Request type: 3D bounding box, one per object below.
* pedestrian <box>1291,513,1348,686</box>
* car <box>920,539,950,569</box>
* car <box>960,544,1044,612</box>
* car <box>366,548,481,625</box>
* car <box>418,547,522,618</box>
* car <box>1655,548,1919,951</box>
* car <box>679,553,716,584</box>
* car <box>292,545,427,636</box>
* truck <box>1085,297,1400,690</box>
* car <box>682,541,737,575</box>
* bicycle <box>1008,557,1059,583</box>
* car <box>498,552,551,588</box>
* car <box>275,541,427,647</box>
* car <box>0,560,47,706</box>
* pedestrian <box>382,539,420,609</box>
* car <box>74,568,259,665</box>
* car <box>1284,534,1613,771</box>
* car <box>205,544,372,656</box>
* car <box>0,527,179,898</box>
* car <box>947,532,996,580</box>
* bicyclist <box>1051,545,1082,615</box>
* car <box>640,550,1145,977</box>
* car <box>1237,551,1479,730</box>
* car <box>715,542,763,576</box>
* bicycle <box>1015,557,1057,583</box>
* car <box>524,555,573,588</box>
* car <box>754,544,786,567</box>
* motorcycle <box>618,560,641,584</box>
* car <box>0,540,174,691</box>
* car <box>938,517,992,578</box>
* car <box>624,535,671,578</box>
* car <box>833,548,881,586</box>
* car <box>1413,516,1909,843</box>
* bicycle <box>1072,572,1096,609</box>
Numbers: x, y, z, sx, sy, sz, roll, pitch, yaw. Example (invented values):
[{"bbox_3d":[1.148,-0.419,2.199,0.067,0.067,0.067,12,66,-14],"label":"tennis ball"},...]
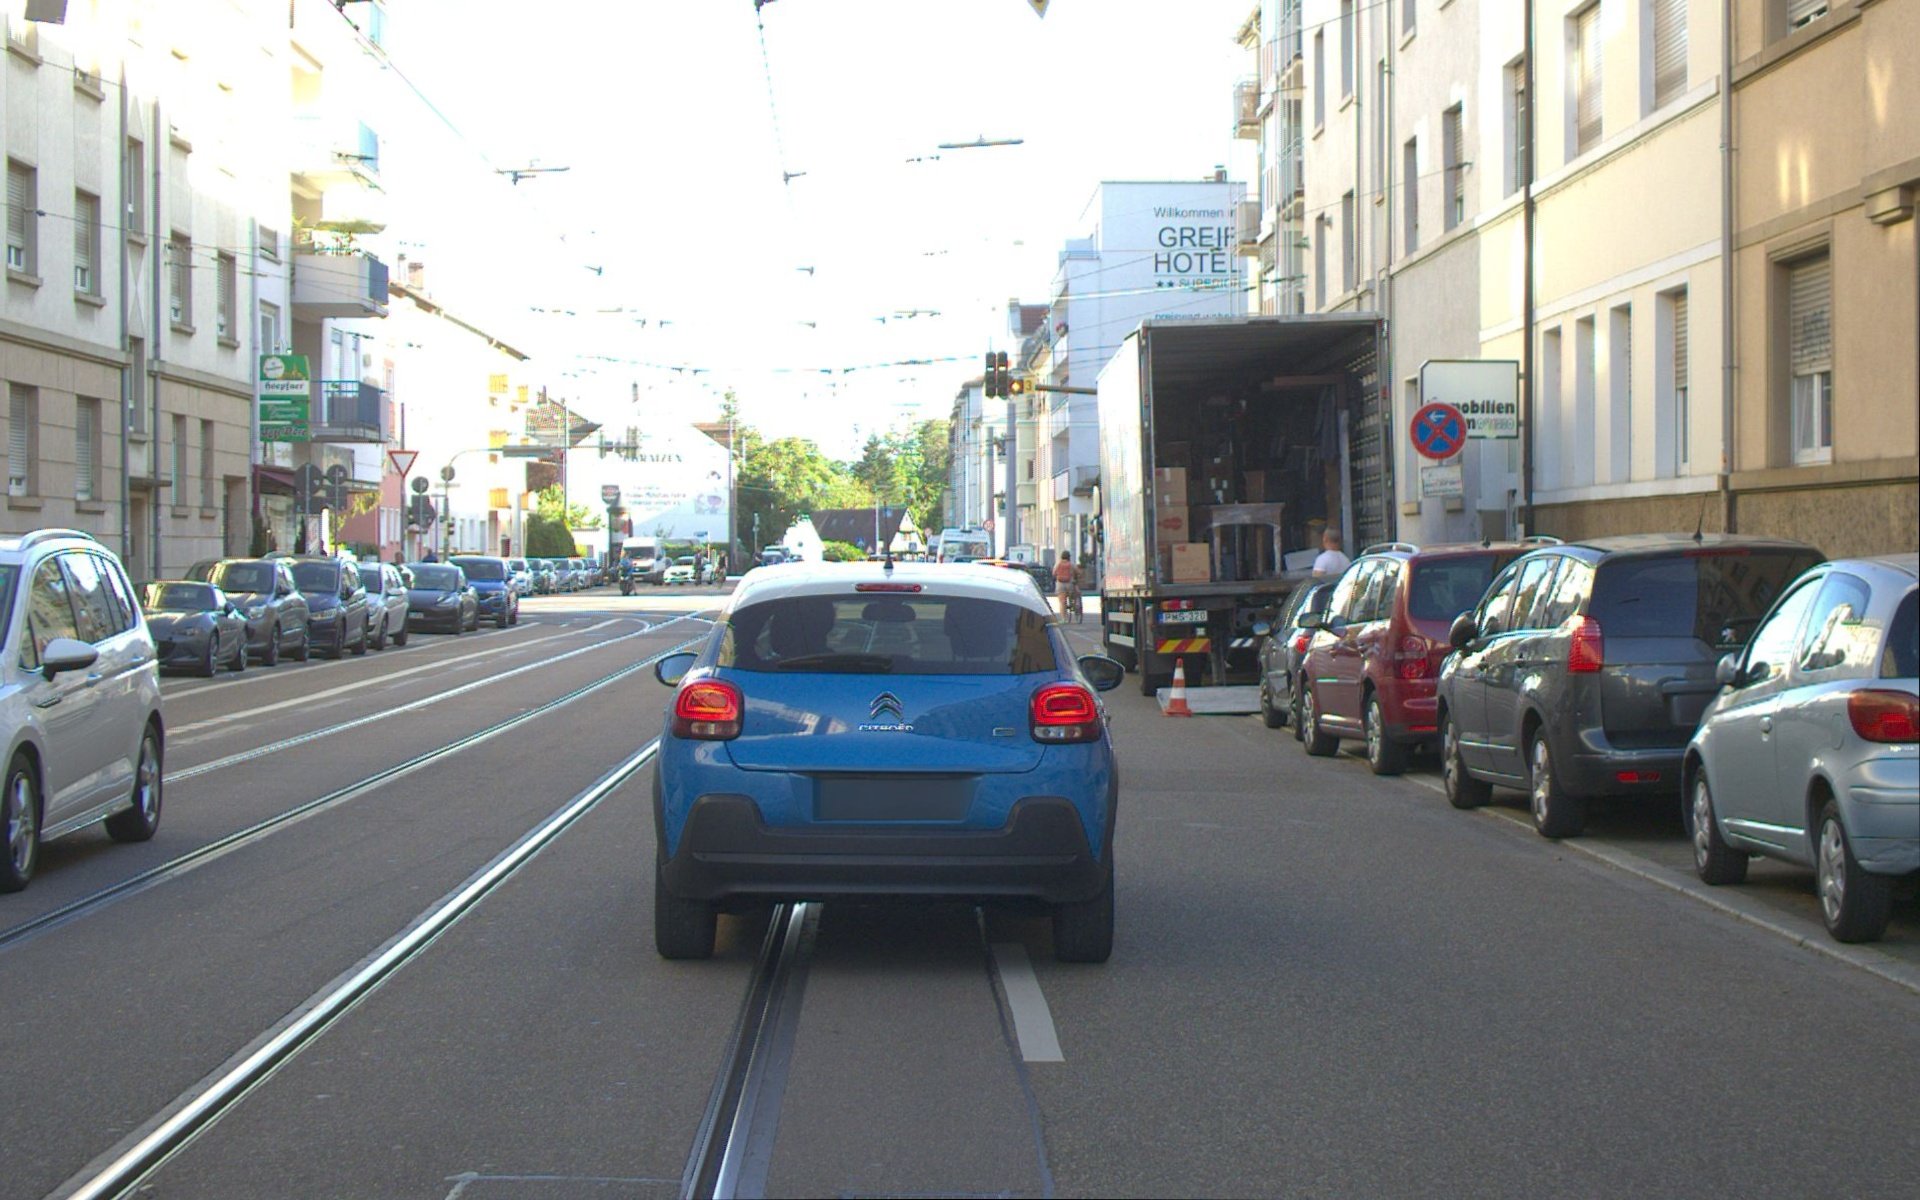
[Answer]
[{"bbox_3d":[3.708,-0.012,35.467,0.512,1.769,0.416,-1,1,-1],"label":"pedestrian"},{"bbox_3d":[-1.398,-2.570,192.497,1.689,1.612,4.000,1,1,0],"label":"car"},{"bbox_3d":[0.934,-0.491,74.415,1.738,1.415,4.000,0,1,2],"label":"car"},{"bbox_3d":[-11.061,-0.283,71.118,1.699,1.504,4.312,1,0,-1],"label":"car"},{"bbox_3d":[-10.904,-0.400,76.740,1.744,1.504,4.000,1,0,-1],"label":"car"},{"bbox_3d":[4.119,0.527,14.540,1.608,1.458,3.480,-1,1,0],"label":"car"},{"bbox_3d":[-13.496,-1.635,176.822,1.849,1.568,4.402,0,1,-4],"label":"car"},{"bbox_3d":[-10.617,-0.175,61.003,1.699,1.504,4.387,1,0,-2],"label":"car"},{"bbox_3d":[3.159,-1.215,41.752,2.860,4.059,11.779,-1,1,0],"label":"truck"},{"bbox_3d":[-12.471,-2.082,170.886,1.808,1.634,4.001,-1,1,-19],"label":"car"},{"bbox_3d":[2.746,-1.114,128.107,1.874,0.953,0.701,0,1,4],"label":"bicycle"},{"bbox_3d":[-18.723,-1.287,148.023,1.911,1.492,4.000,0,1,-2],"label":"car"},{"bbox_3d":[-9.778,-0.100,55.469,1.699,1.610,4.244,1,0,-1],"label":"car"},{"bbox_3d":[-10.183,0.290,33.069,1.699,1.411,4.000,3,0,-1],"label":"car"},{"bbox_3d":[-12.543,-0.583,77.104,0.697,1.543,0.721,0,1,2],"label":"pedestrian"},{"bbox_3d":[-10.582,0.202,46.070,1.699,1.211,3.786,1,0,-2],"label":"car"},{"bbox_3d":[3.588,0.326,25.942,1.591,1.603,4.247,-2,1,-4],"label":"car"},{"bbox_3d":[-9.922,-0.014,51.072,1.699,1.564,4.000,1,0,-1],"label":"car"},{"bbox_3d":[-5.060,0.453,16.511,1.820,1.563,4.202,-1,1,-3],"label":"car"},{"bbox_3d":[0.429,-1.641,128.684,1.732,1.744,3.214,1,1,-1],"label":"car"},{"bbox_3d":[2.521,-0.475,81.474,0.726,1.640,0.790,0,1,2],"label":"bicyclist"},{"bbox_3d":[-0.368,0.548,14.025,1.743,1.457,4.001,1,1,-4],"label":"car"},{"bbox_3d":[3.528,0.315,31.060,1.582,1.458,3.881,-1,1,-2],"label":"car"},{"bbox_3d":[-9.982,-1.875,155.631,1.993,1.503,4.000,0,1,-1],"label":"car"},{"bbox_3d":[2.801,-1.101,127.044,1.504,0.953,0.701,0,1,4],"label":"bicycle"},{"bbox_3d":[-19.112,-1.323,159.764,1.911,1.492,4.000,0,1,-2],"label":"car"},{"bbox_3d":[-12.779,-3.001,231.271,2.021,1.520,4.000,0,1,-2],"label":"car"},{"bbox_3d":[-12.405,-1.057,129.033,0.615,0.861,1.671,0,1,2],"label":"motorcycle"},{"bbox_3d":[-10.047,0.129,38.050,1.699,1.562,4.406,-1,1,-1],"label":"car"},{"bbox_3d":[0.168,-2.042,133.611,1.993,2.317,4.000,1,1,-1],"label":"car"},{"bbox_3d":[-16.487,-2.319,181.515,2.207,2.243,4.677,0,1,-2],"label":"car"},{"bbox_3d":[-4.483,-1.454,149.922,1.993,1.612,4.000,1,1,-1],"label":"car"},{"bbox_3d":[3.926,0.374,20.009,1.789,1.646,4.367,-2,1,-2],"label":"car"},{"bbox_3d":[2.940,-0.228,81.424,0.498,0.861,1.749,0,1,0],"label":"bicycle"}]
